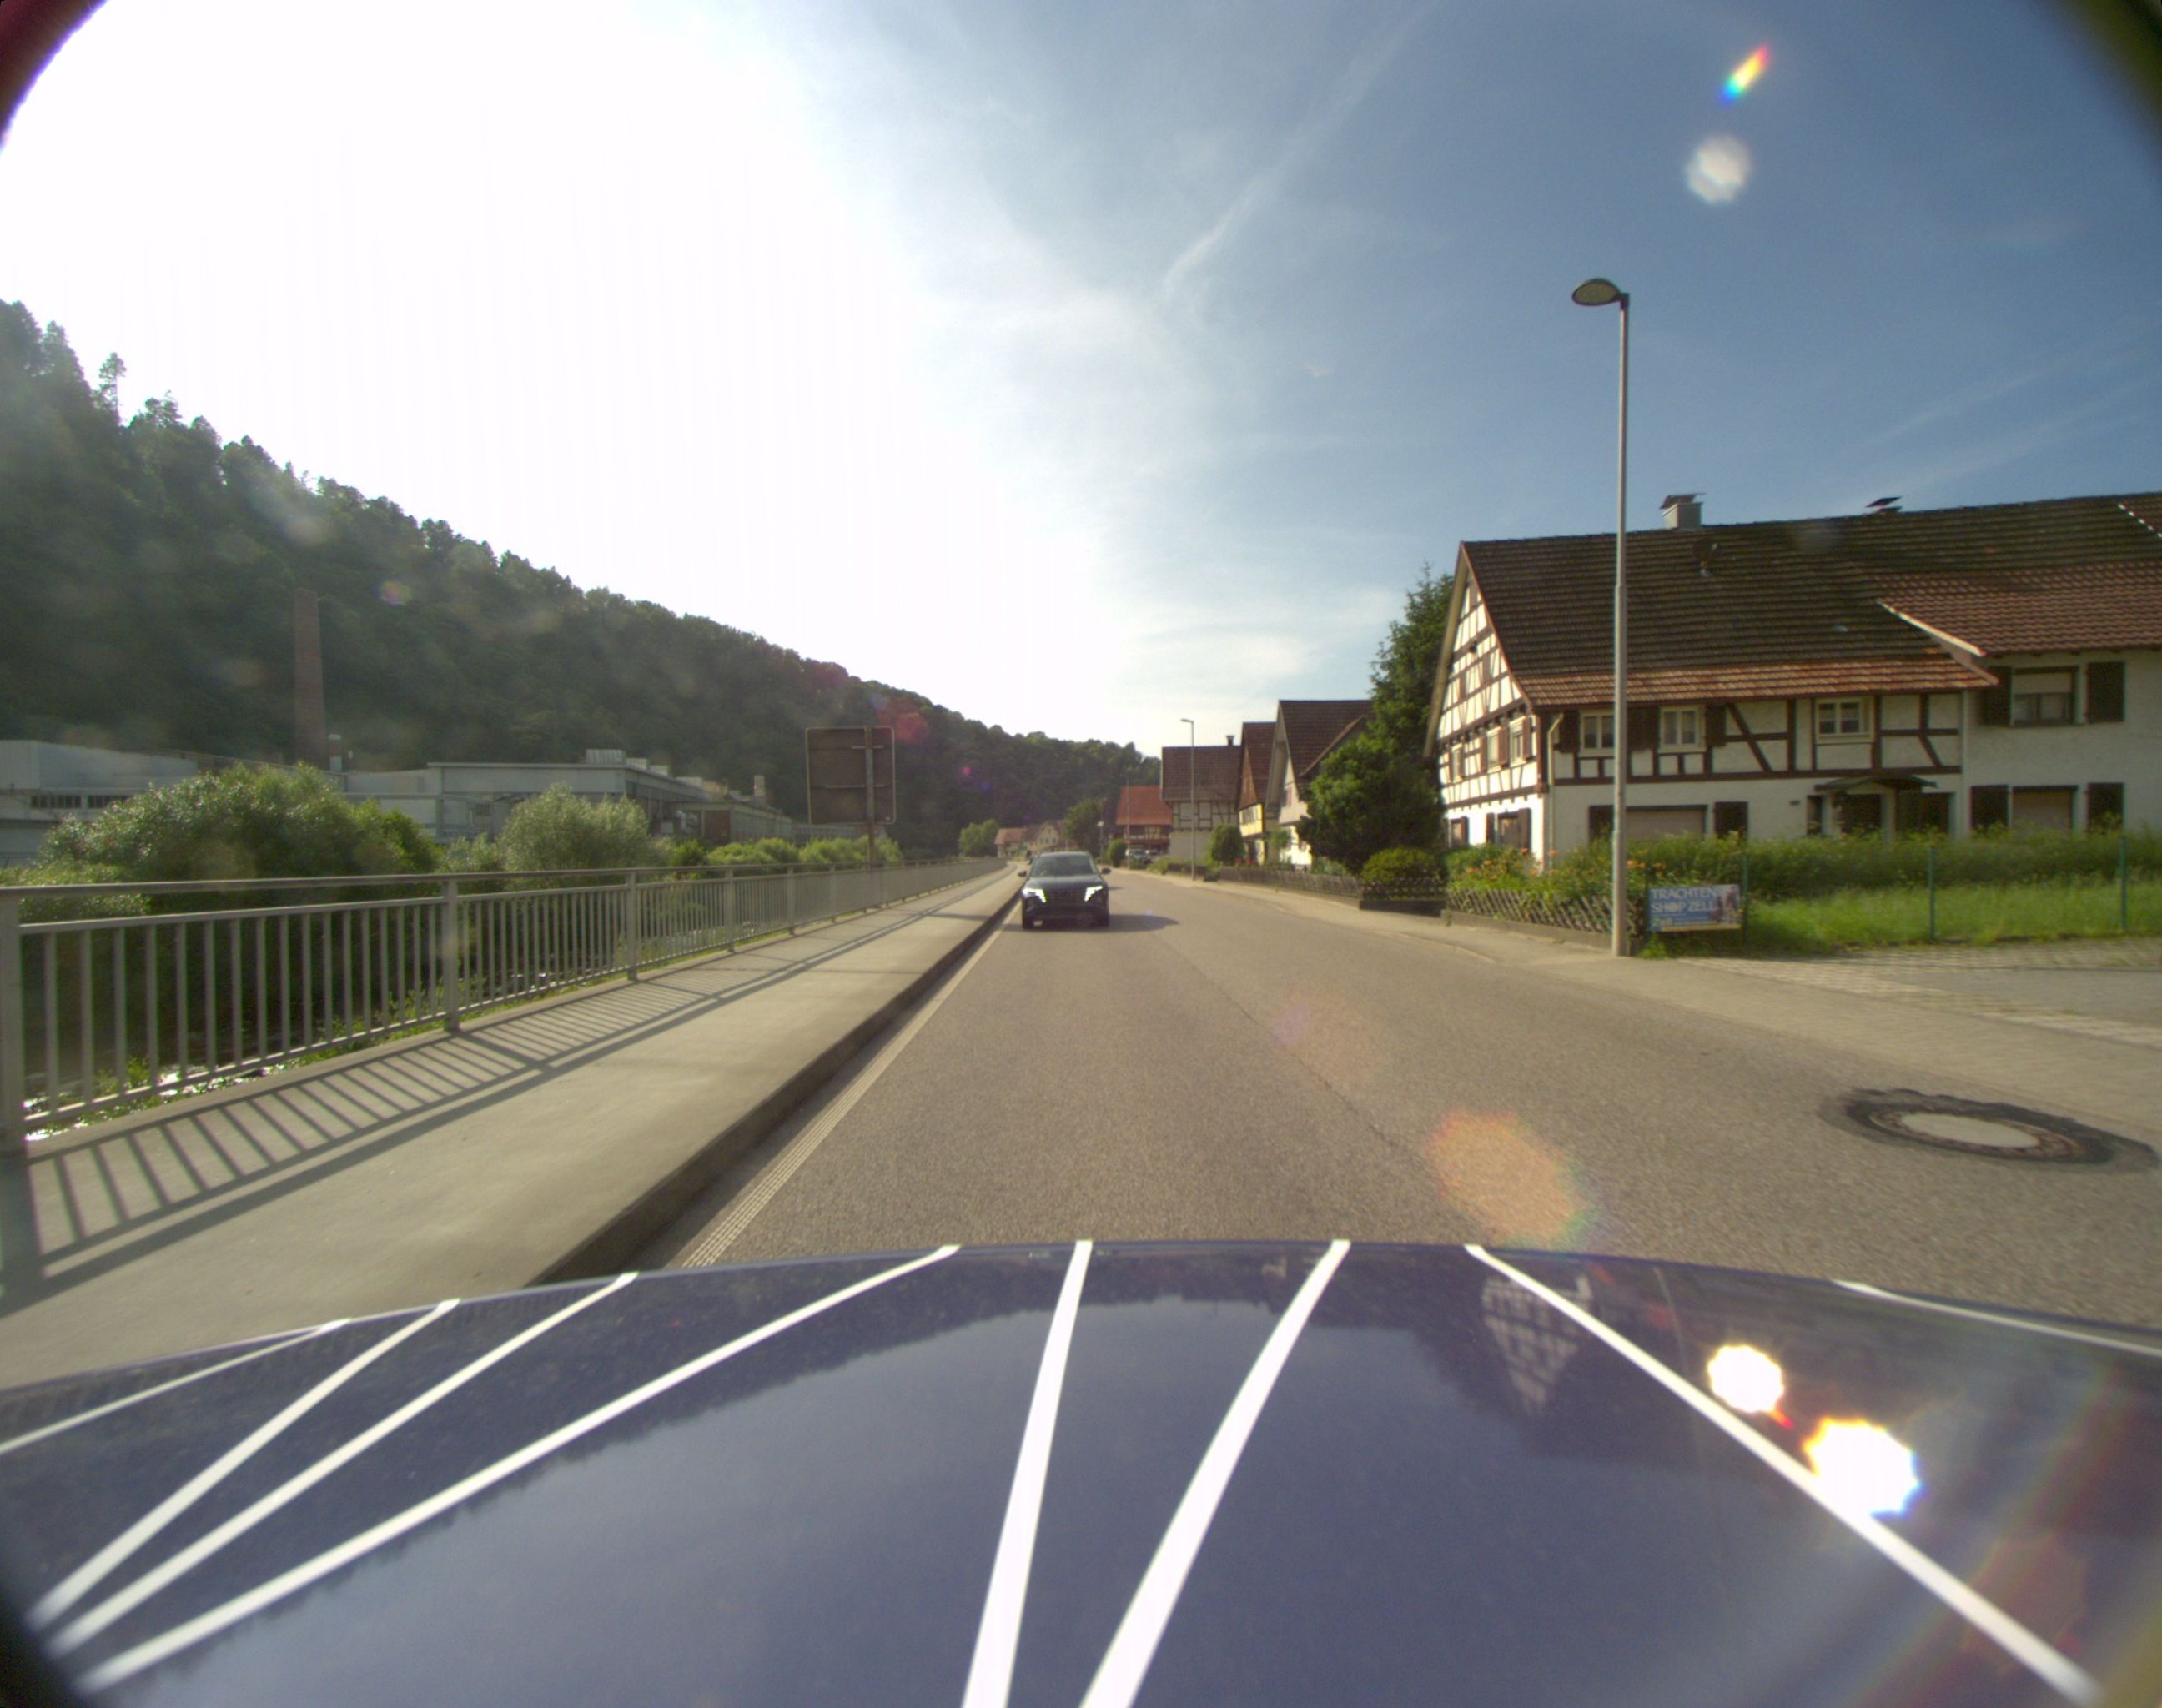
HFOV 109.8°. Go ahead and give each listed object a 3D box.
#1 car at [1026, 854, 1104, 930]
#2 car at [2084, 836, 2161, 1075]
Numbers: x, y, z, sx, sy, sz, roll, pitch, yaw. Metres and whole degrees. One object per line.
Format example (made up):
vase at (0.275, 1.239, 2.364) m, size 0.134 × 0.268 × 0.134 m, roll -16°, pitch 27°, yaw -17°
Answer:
car at (-0.498, 0.827, 18.671) m, size 1.649 × 1.639 × 3.998 m, roll -1°, pitch 0°, yaw -5°
car at (7.858, 0.622, 3.090) m, size 1.889 × 1.510 × 4.235 m, roll -2°, pitch 0°, yaw -2°
